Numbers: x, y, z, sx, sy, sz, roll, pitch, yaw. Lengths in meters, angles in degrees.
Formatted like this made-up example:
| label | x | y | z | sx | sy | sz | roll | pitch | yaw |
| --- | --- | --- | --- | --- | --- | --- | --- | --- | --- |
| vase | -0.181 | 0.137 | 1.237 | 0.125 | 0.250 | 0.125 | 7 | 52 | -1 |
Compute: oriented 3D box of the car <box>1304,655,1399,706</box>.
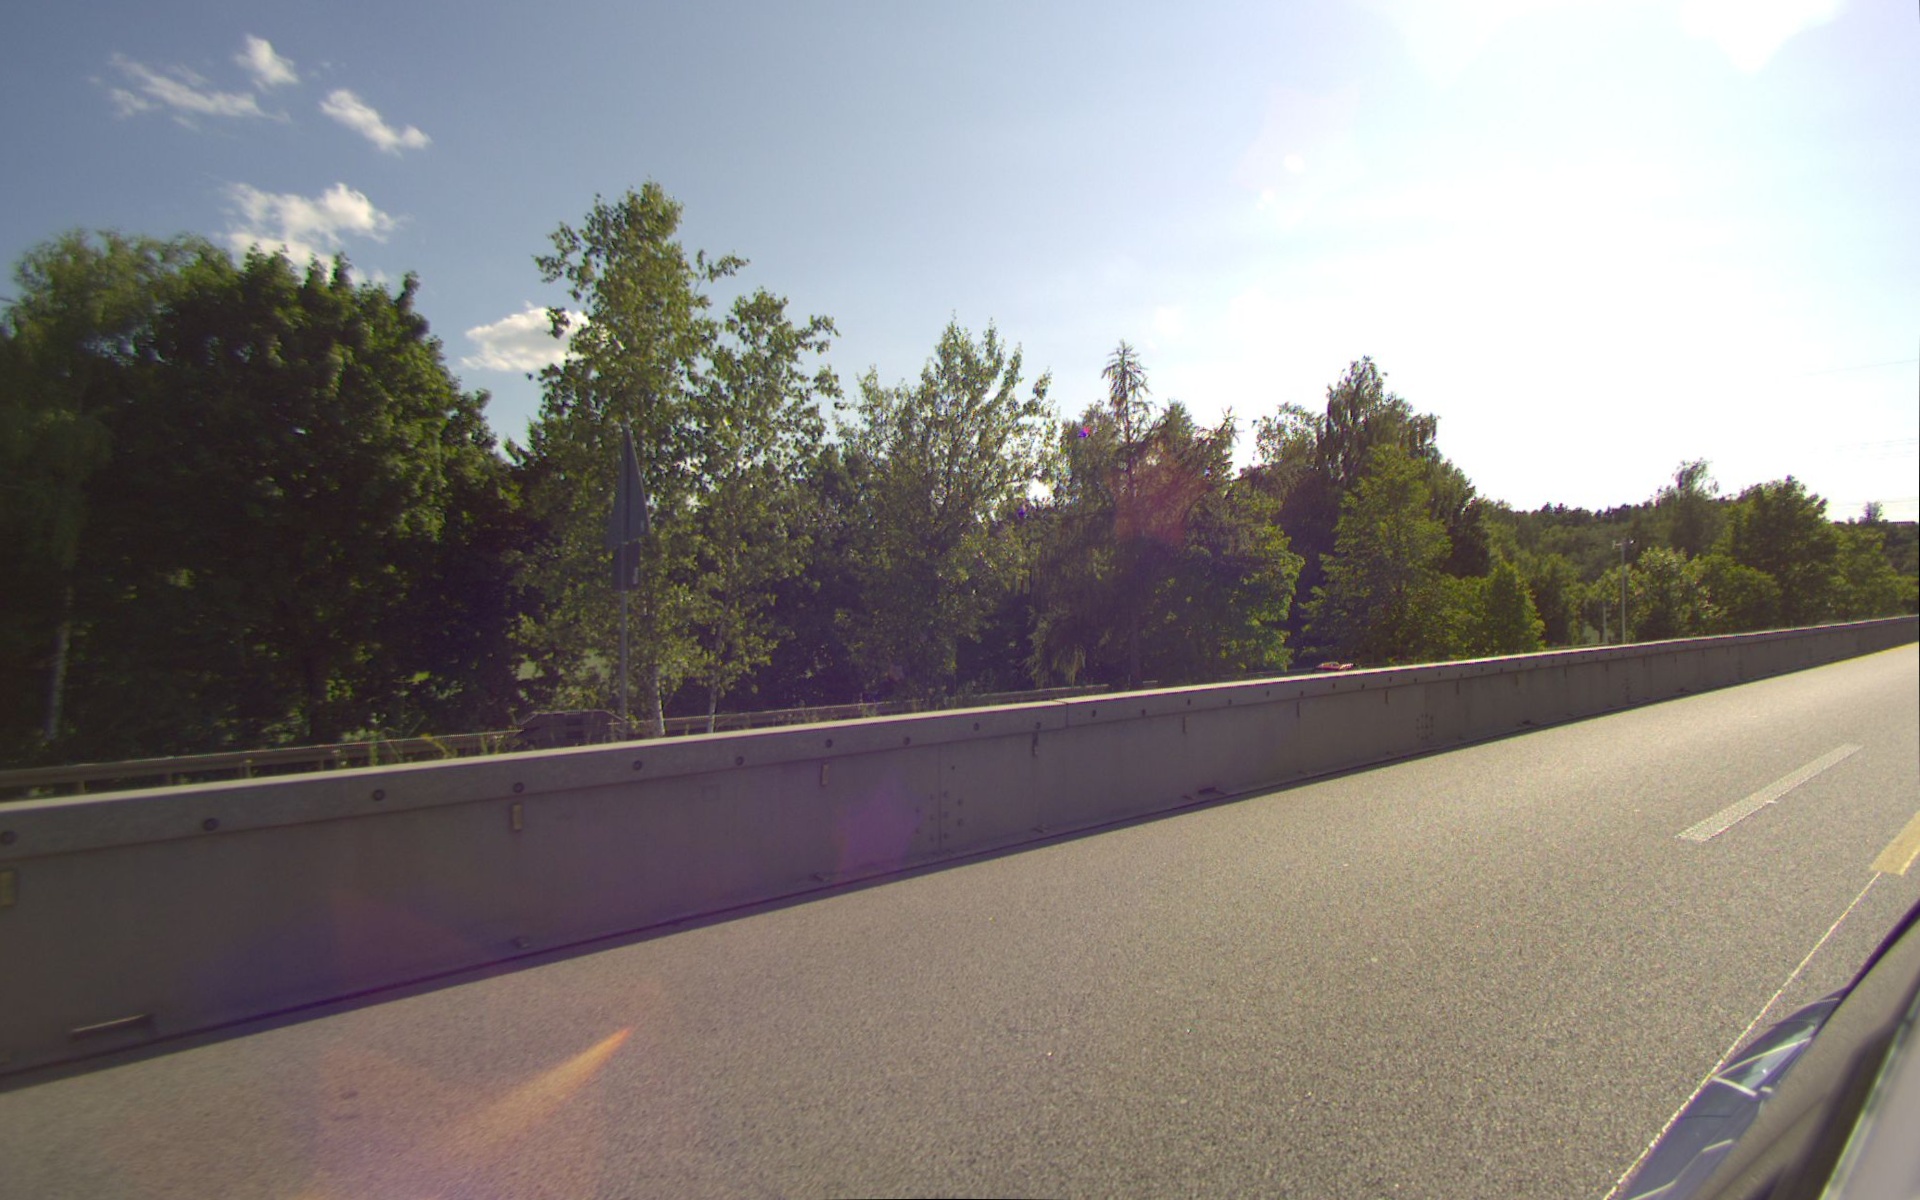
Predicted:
| label | x | y | z | sx | sy | sz | roll | pitch | yaw |
| --- | --- | --- | --- | --- | --- | --- | --- | --- | --- |
| car | 15.194 | 3.075 | 39.251 | 3.811 | 1.674 | 1.768 | 0 | 0 | -39 |
